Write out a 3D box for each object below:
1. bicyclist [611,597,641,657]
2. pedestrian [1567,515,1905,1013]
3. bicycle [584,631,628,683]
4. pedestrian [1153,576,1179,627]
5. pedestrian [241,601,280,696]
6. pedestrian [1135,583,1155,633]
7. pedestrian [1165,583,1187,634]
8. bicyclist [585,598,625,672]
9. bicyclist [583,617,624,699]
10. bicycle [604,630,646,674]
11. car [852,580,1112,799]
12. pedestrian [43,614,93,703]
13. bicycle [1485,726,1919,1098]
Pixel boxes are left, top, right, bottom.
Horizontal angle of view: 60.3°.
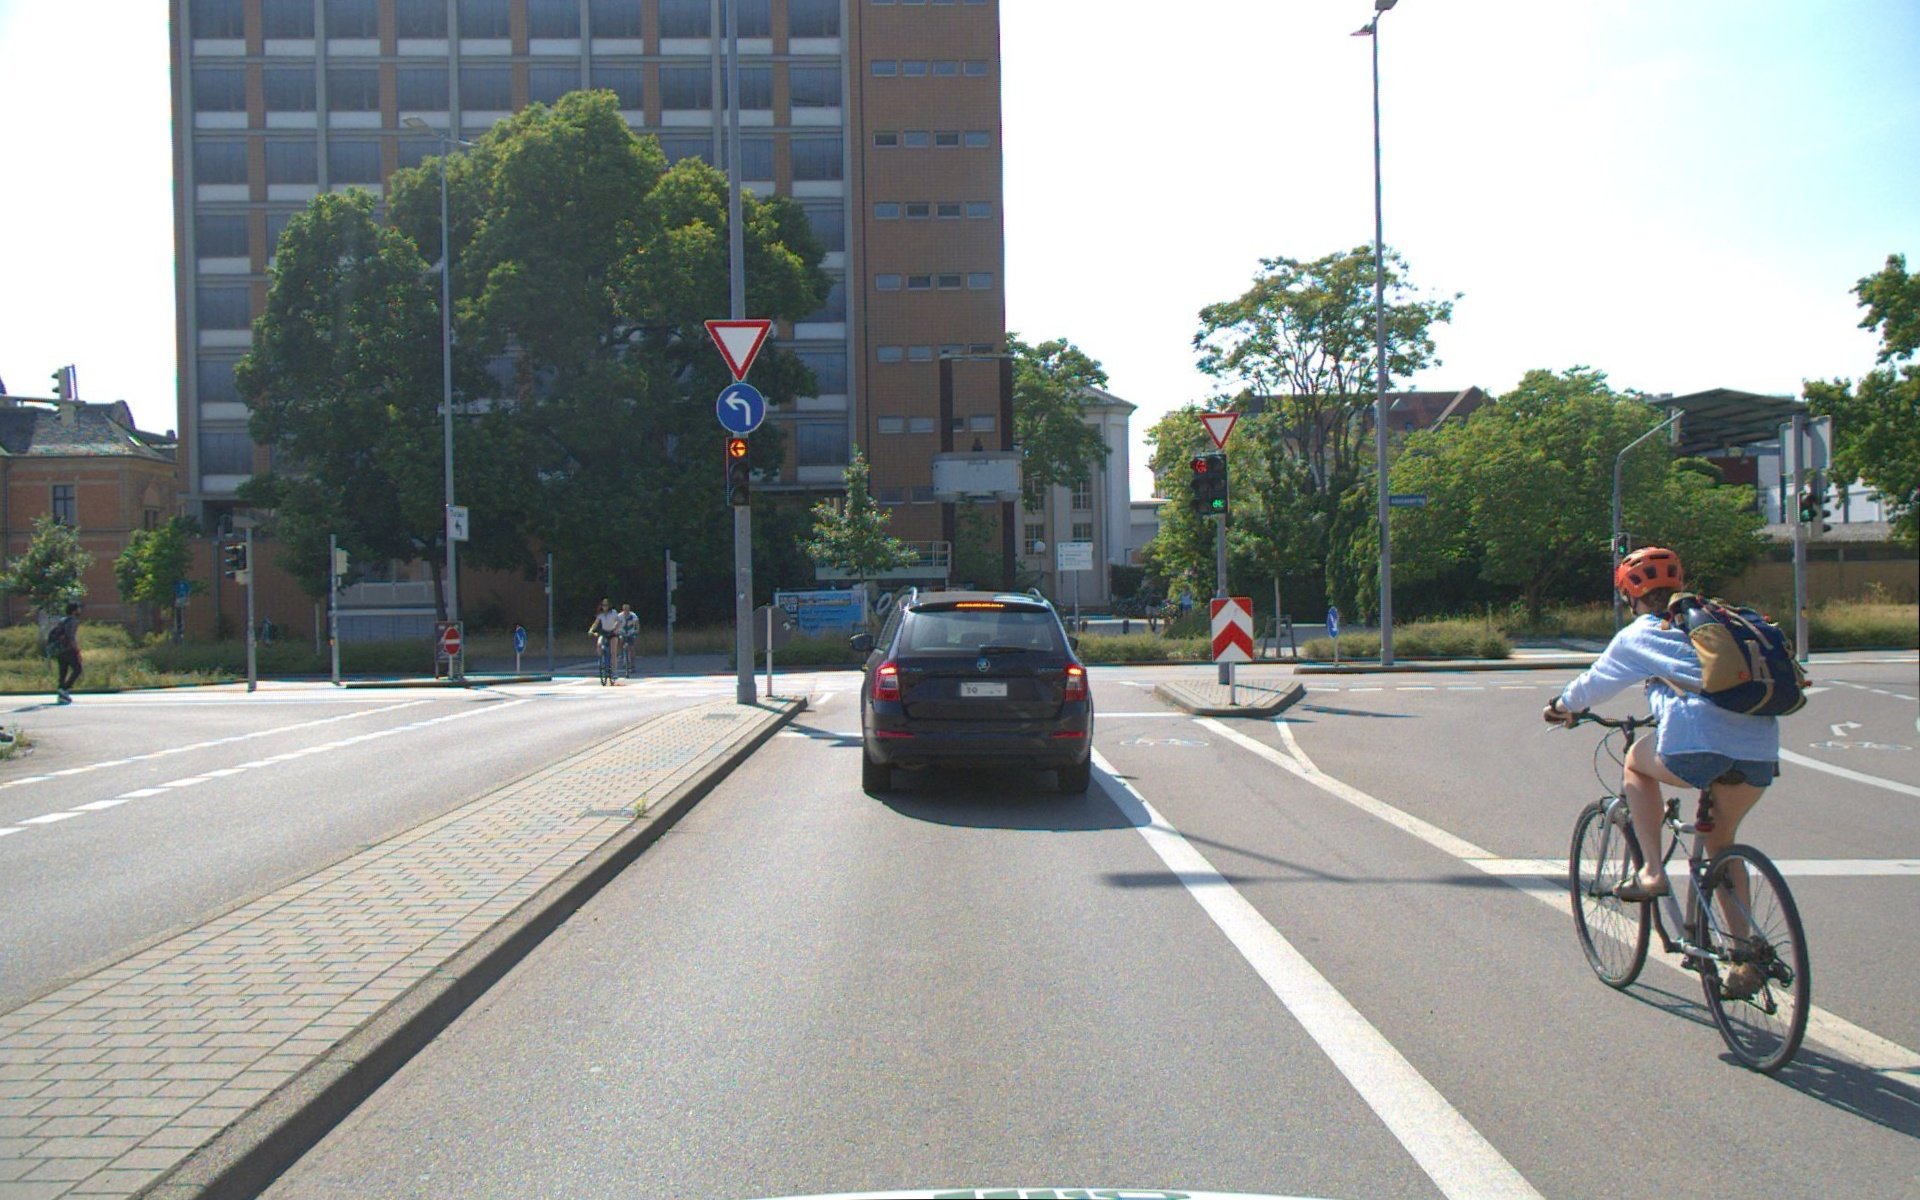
[{"bbox_3d":[-8.221,0.661,40.742,0.528,1.441,1.029,-2,-1,-3],"label":"bicyclist"},{"bbox_3d":[2.528,0.491,5.494,0.572,1.492,1.012,0,0,-6],"label":"pedestrian"},{"bbox_3d":[-7.310,1.168,34.254,0.606,0.977,1.966,-4,0,-5],"label":"bicycle"},{"bbox_3d":[7.930,0.072,63.734,0.778,1.907,0.639,-3,0,23],"label":"pedestrian"},{"bbox_3d":[-15.323,1.049,36.217,0.610,2.049,0.678,1,-1,-38],"label":"pedestrian"},{"bbox_3d":[7.126,0.310,63.769,0.584,1.907,0.639,-2,0,22],"label":"pedestrian"},{"bbox_3d":[8.187,0.323,62.639,0.624,1.907,0.796,-3,0,-1],"label":"pedestrian"},{"bbox_3d":[-7.334,0.713,34.206,0.606,1.468,0.919,-4,0,-6],"label":"bicyclist"},{"bbox_3d":[-7.256,1.169,33.686,0.606,1.609,1.012,-4,0,-6],"label":"bicyclist"},{"bbox_3d":[-8.254,1.281,40.840,0.690,0.994,2.030,-2,0,-3],"label":"bicycle"},{"bbox_3d":[0.139,0.599,13.080,1.743,1.468,3.817,0,0,0],"label":"car"},{"bbox_3d":[-15.760,1.021,29.232,0.621,1.517,0.614,-2,0,-17],"label":"pedestrian"},{"bbox_3d":[2.533,0.980,5.815,0.584,0.948,2.026,0,-1,-4],"label":"bicycle"}]
